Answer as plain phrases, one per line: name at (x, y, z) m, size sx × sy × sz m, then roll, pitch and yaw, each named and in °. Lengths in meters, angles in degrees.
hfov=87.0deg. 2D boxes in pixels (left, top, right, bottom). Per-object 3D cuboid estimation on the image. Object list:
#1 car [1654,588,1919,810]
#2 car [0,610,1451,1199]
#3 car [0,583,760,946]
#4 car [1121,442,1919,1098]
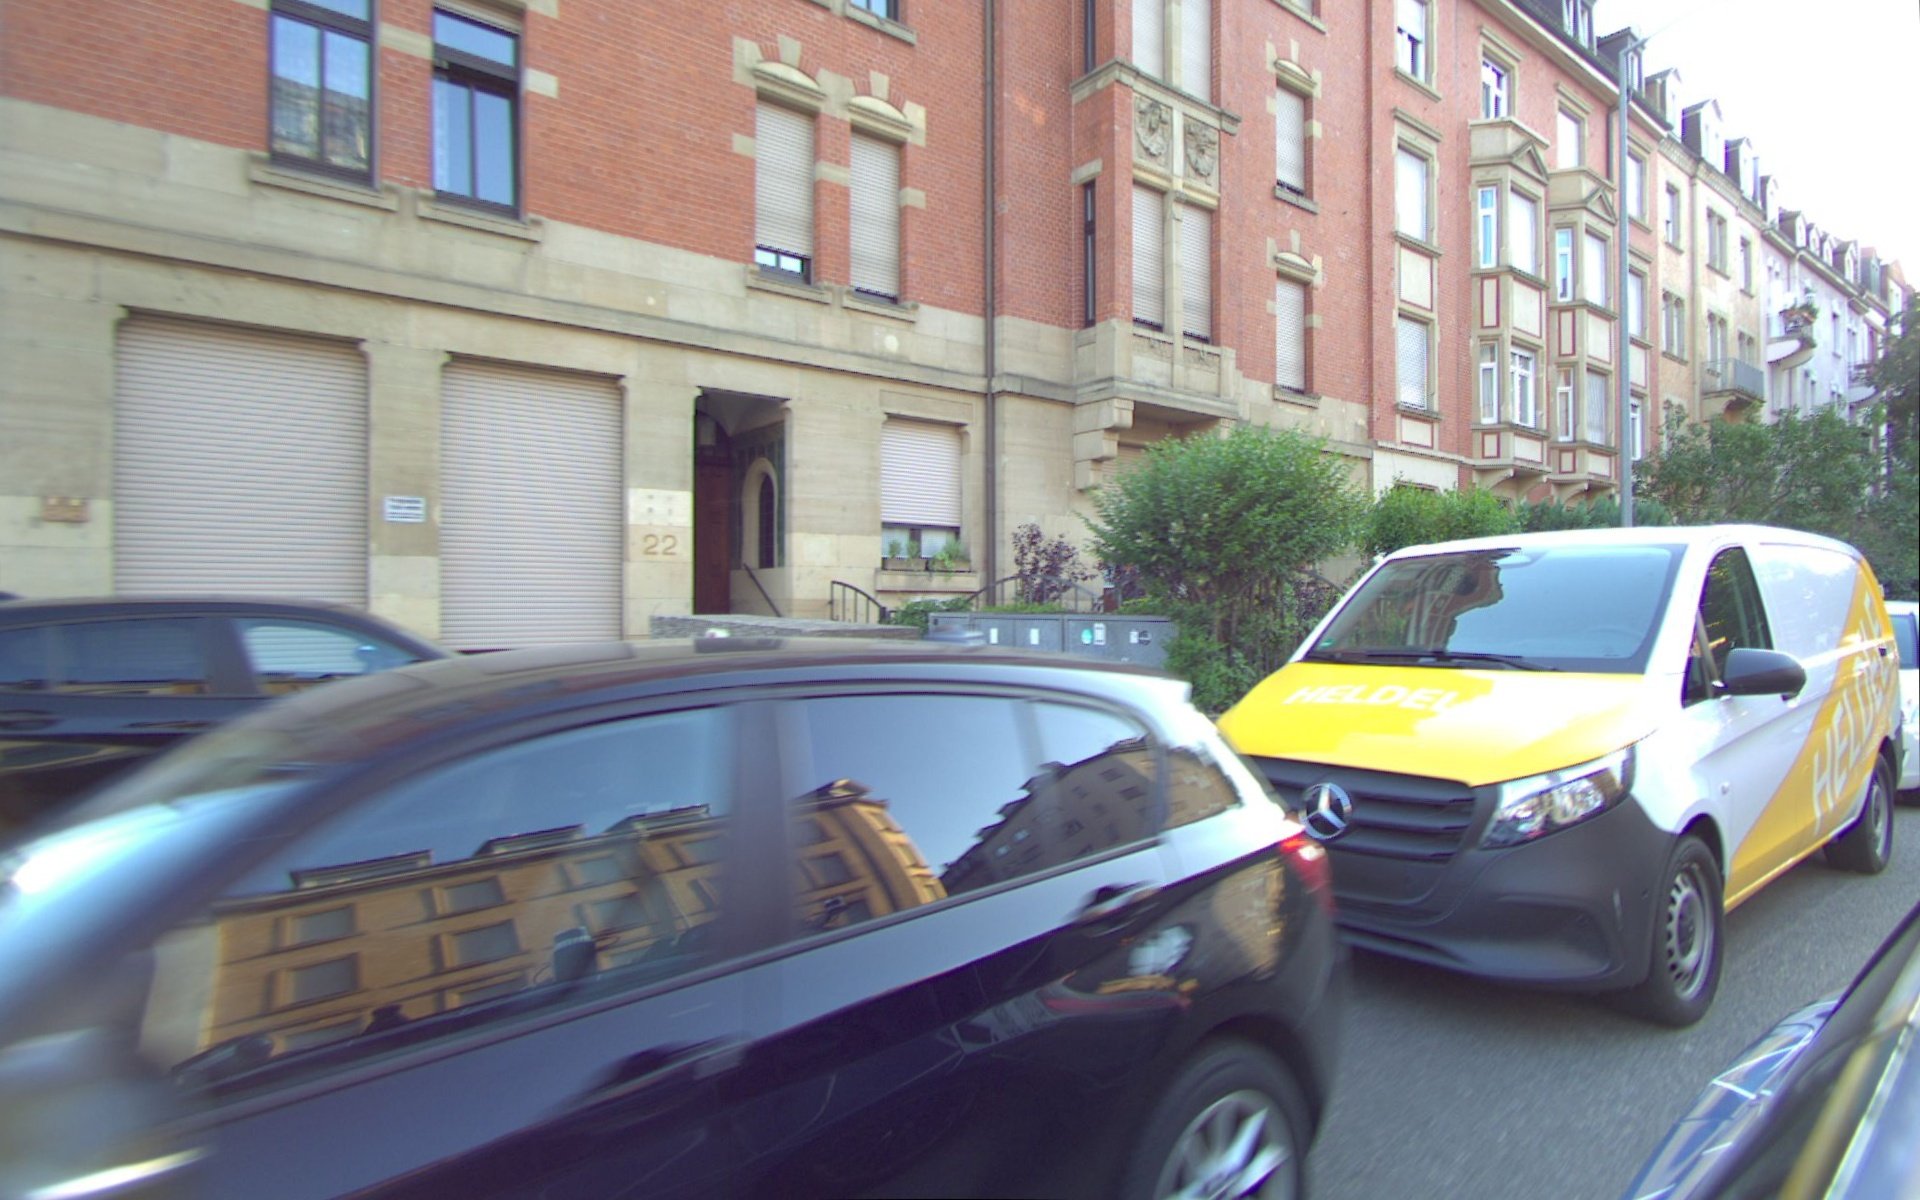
car at (7.629, 0.670, 8.529) m, size 3.788 × 1.496 × 1.680 m, roll 0°, pitch -1°, yaw -35°
car at (-1.029, 0.776, 1.812) m, size 4.175 × 1.442 × 1.725 m, roll 0°, pitch -2°, yaw -37°
car at (-3.451, 0.644, 5.496) m, size 4.343 × 1.442 × 1.730 m, roll 0°, pitch 1°, yaw -38°
car at (3.263, 0.492, 5.238) m, size 4.989 × 1.908 × 1.898 m, roll 0°, pitch -1°, yaw -38°
